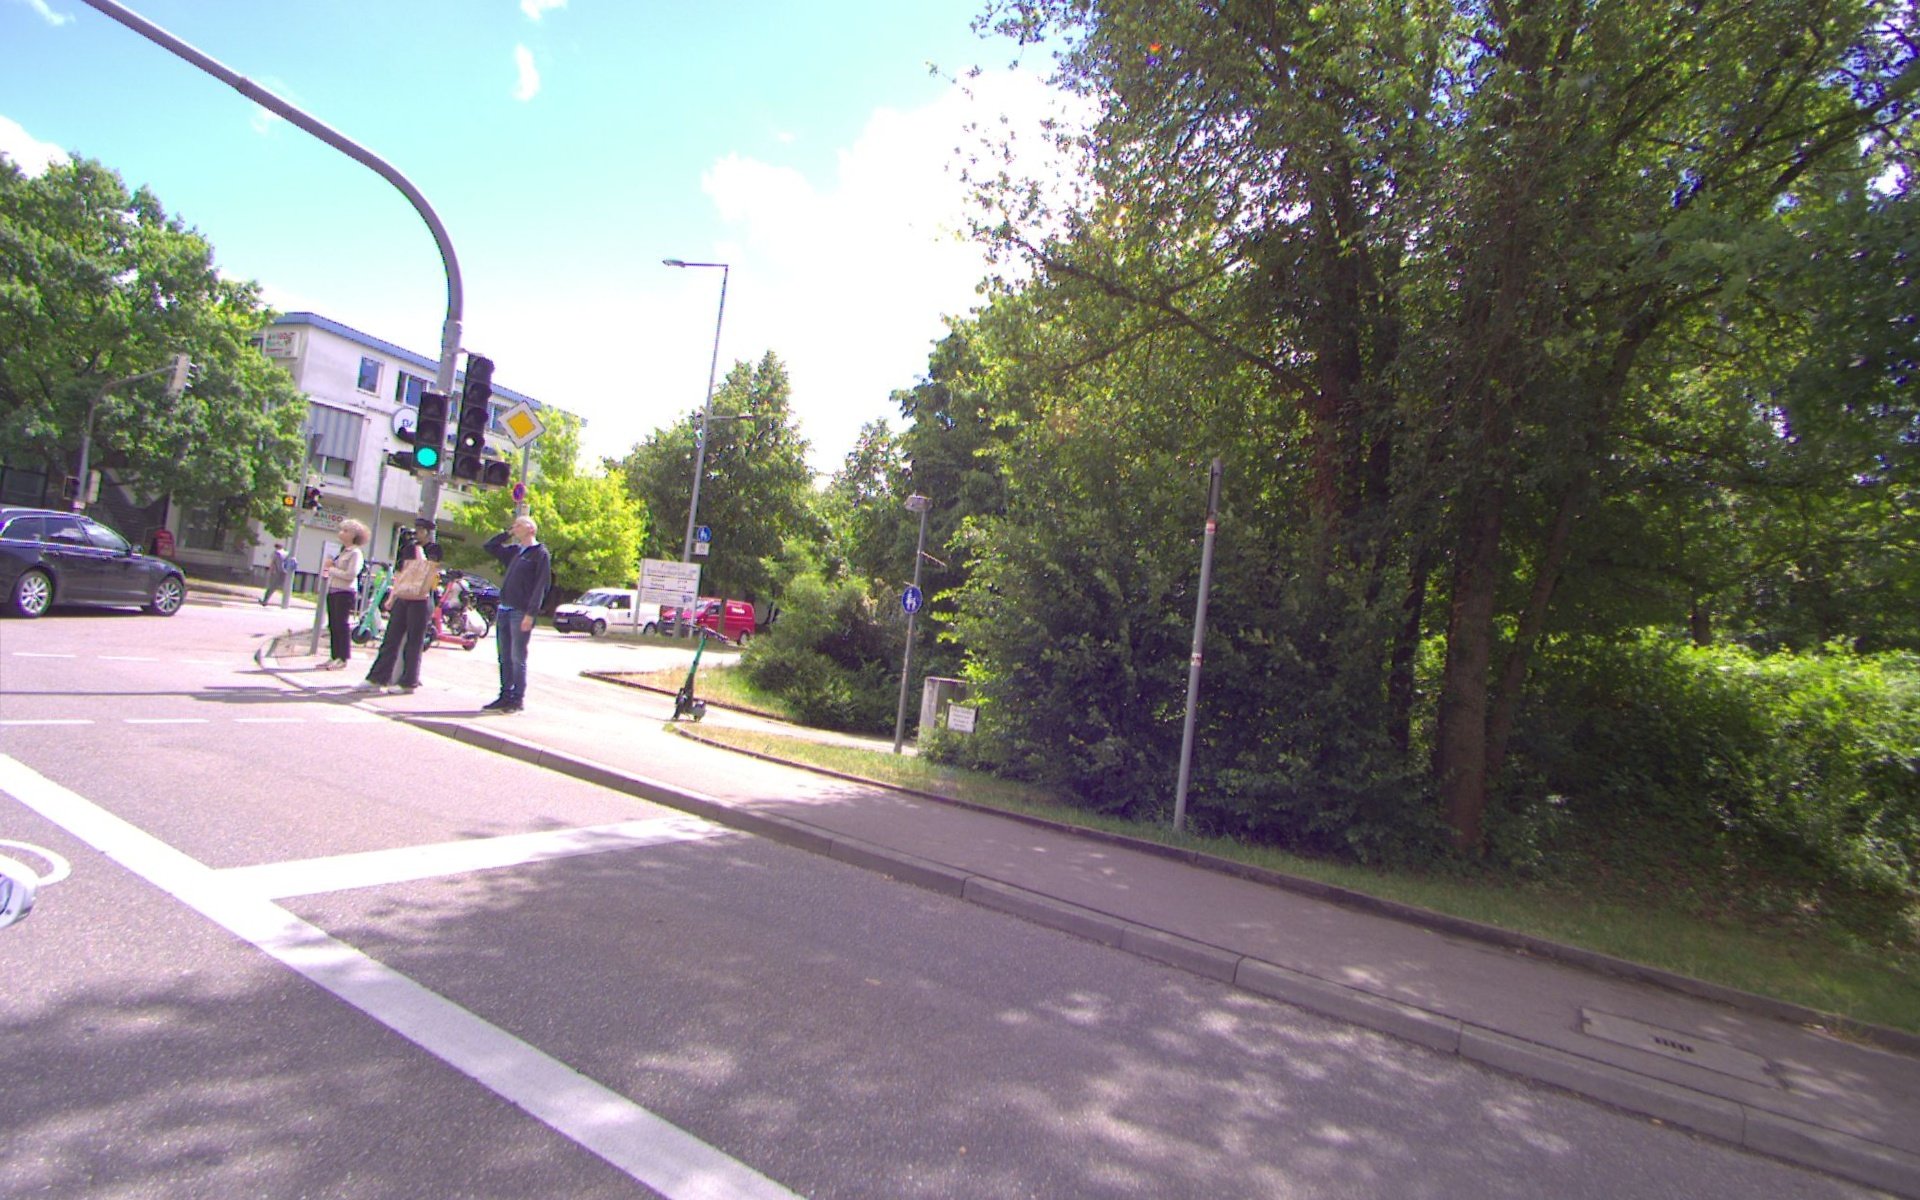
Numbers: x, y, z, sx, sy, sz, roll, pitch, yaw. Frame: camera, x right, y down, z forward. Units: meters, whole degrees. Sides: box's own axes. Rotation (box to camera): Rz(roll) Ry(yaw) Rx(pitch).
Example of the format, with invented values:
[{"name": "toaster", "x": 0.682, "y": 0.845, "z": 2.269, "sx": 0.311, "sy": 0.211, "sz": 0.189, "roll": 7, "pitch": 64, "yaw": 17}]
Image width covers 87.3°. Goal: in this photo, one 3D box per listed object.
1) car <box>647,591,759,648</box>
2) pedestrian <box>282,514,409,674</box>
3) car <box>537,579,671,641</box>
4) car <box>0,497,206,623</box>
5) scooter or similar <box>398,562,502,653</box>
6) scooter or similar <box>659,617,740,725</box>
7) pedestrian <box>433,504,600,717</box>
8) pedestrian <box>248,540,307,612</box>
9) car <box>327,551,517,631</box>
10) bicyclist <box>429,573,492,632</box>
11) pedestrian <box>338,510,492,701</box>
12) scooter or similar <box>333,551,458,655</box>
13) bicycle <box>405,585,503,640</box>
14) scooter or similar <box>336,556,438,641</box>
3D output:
[{"name": "car", "x": -10.762, "y": 0.869, "z": 42.511, "sx": 1.964, "sy": 1.885, "sz": 4.822, "roll": 5, "pitch": -3, "yaw": 23}, {"name": "pedestrian", "x": -7.093, "y": -0.070, "z": 11.610, "sx": 0.950, "sy": 1.694, "sz": 0.860, "roll": 7, "pitch": 0, "yaw": -43}, {"name": "car", "x": -13.105, "y": 0.432, "z": 37.328, "sx": 1.963, "sy": 1.737, "sz": 4.576, "roll": 7, "pitch": -2, "yaw": 23}, {"name": "car", "x": -13.229, "y": -0.582, "z": 14.283, "sx": 1.966, "sy": 1.571, "sz": 4.518, "roll": 7, "pitch": -2, "yaw": -8}, {"name": "scooter or similar", "x": -8.085, "y": 0.134, "z": 15.997, "sx": 0.547, "sy": 1.254, "sz": 1.231, "roll": 8, "pitch": -3, "yaw": 23}, {"name": "scooter or similar", "x": -3.500, "y": 0.979, "z": 13.614, "sx": 0.706, "sy": 1.287, "sz": 1.243, "roll": 10, "pitch": -7, "yaw": -7}, {"name": "pedestrian", "x": -4.433, "y": 0.129, "z": 10.095, "sx": 0.881, "sy": 1.964, "sz": 0.968, "roll": 7, "pitch": -1, "yaw": 28}, {"name": "pedestrian", "x": -17.348, "y": -0.601, "z": 25.579, "sx": 0.892, "sy": 1.662, "sz": 0.770, "roll": 7, "pitch": -2, "yaw": 31}, {"name": "car", "x": -15.881, "y": -0.210, "z": 29.991, "sx": 1.964, "sy": 1.737, "sz": 4.574, "roll": 7, "pitch": -2, "yaw": 25}, {"name": "bicyclist", "x": -9.985, "y": 0.061, "z": 20.122, "sx": 0.625, "sy": 1.034, "sz": 0.794, "roll": 7, "pitch": -2, "yaw": 28}, {"name": "pedestrian", "x": -5.547, "y": 0.072, "z": 10.283, "sx": 0.758, "sy": 1.787, "sz": 0.936, "roll": 7, "pitch": 0, "yaw": 20}, {"name": "scooter or similar", "x": -8.036, "y": 0.064, "z": 14.363, "sx": 0.455, "sy": 1.292, "sz": 1.344, "roll": 8, "pitch": -1, "yaw": 38}, {"name": "bicycle", "x": -10.164, "y": 0.247, "z": 20.200, "sx": 1.776, "sy": 0.828, "sz": 0.794, "roll": 7, "pitch": -2, "yaw": 28}, {"name": "scooter or similar", "x": -9.099, "y": -0.001, "z": 16.027, "sx": 0.533, "sy": 1.168, "sz": 1.362, "roll": 9, "pitch": -3, "yaw": 7}]
